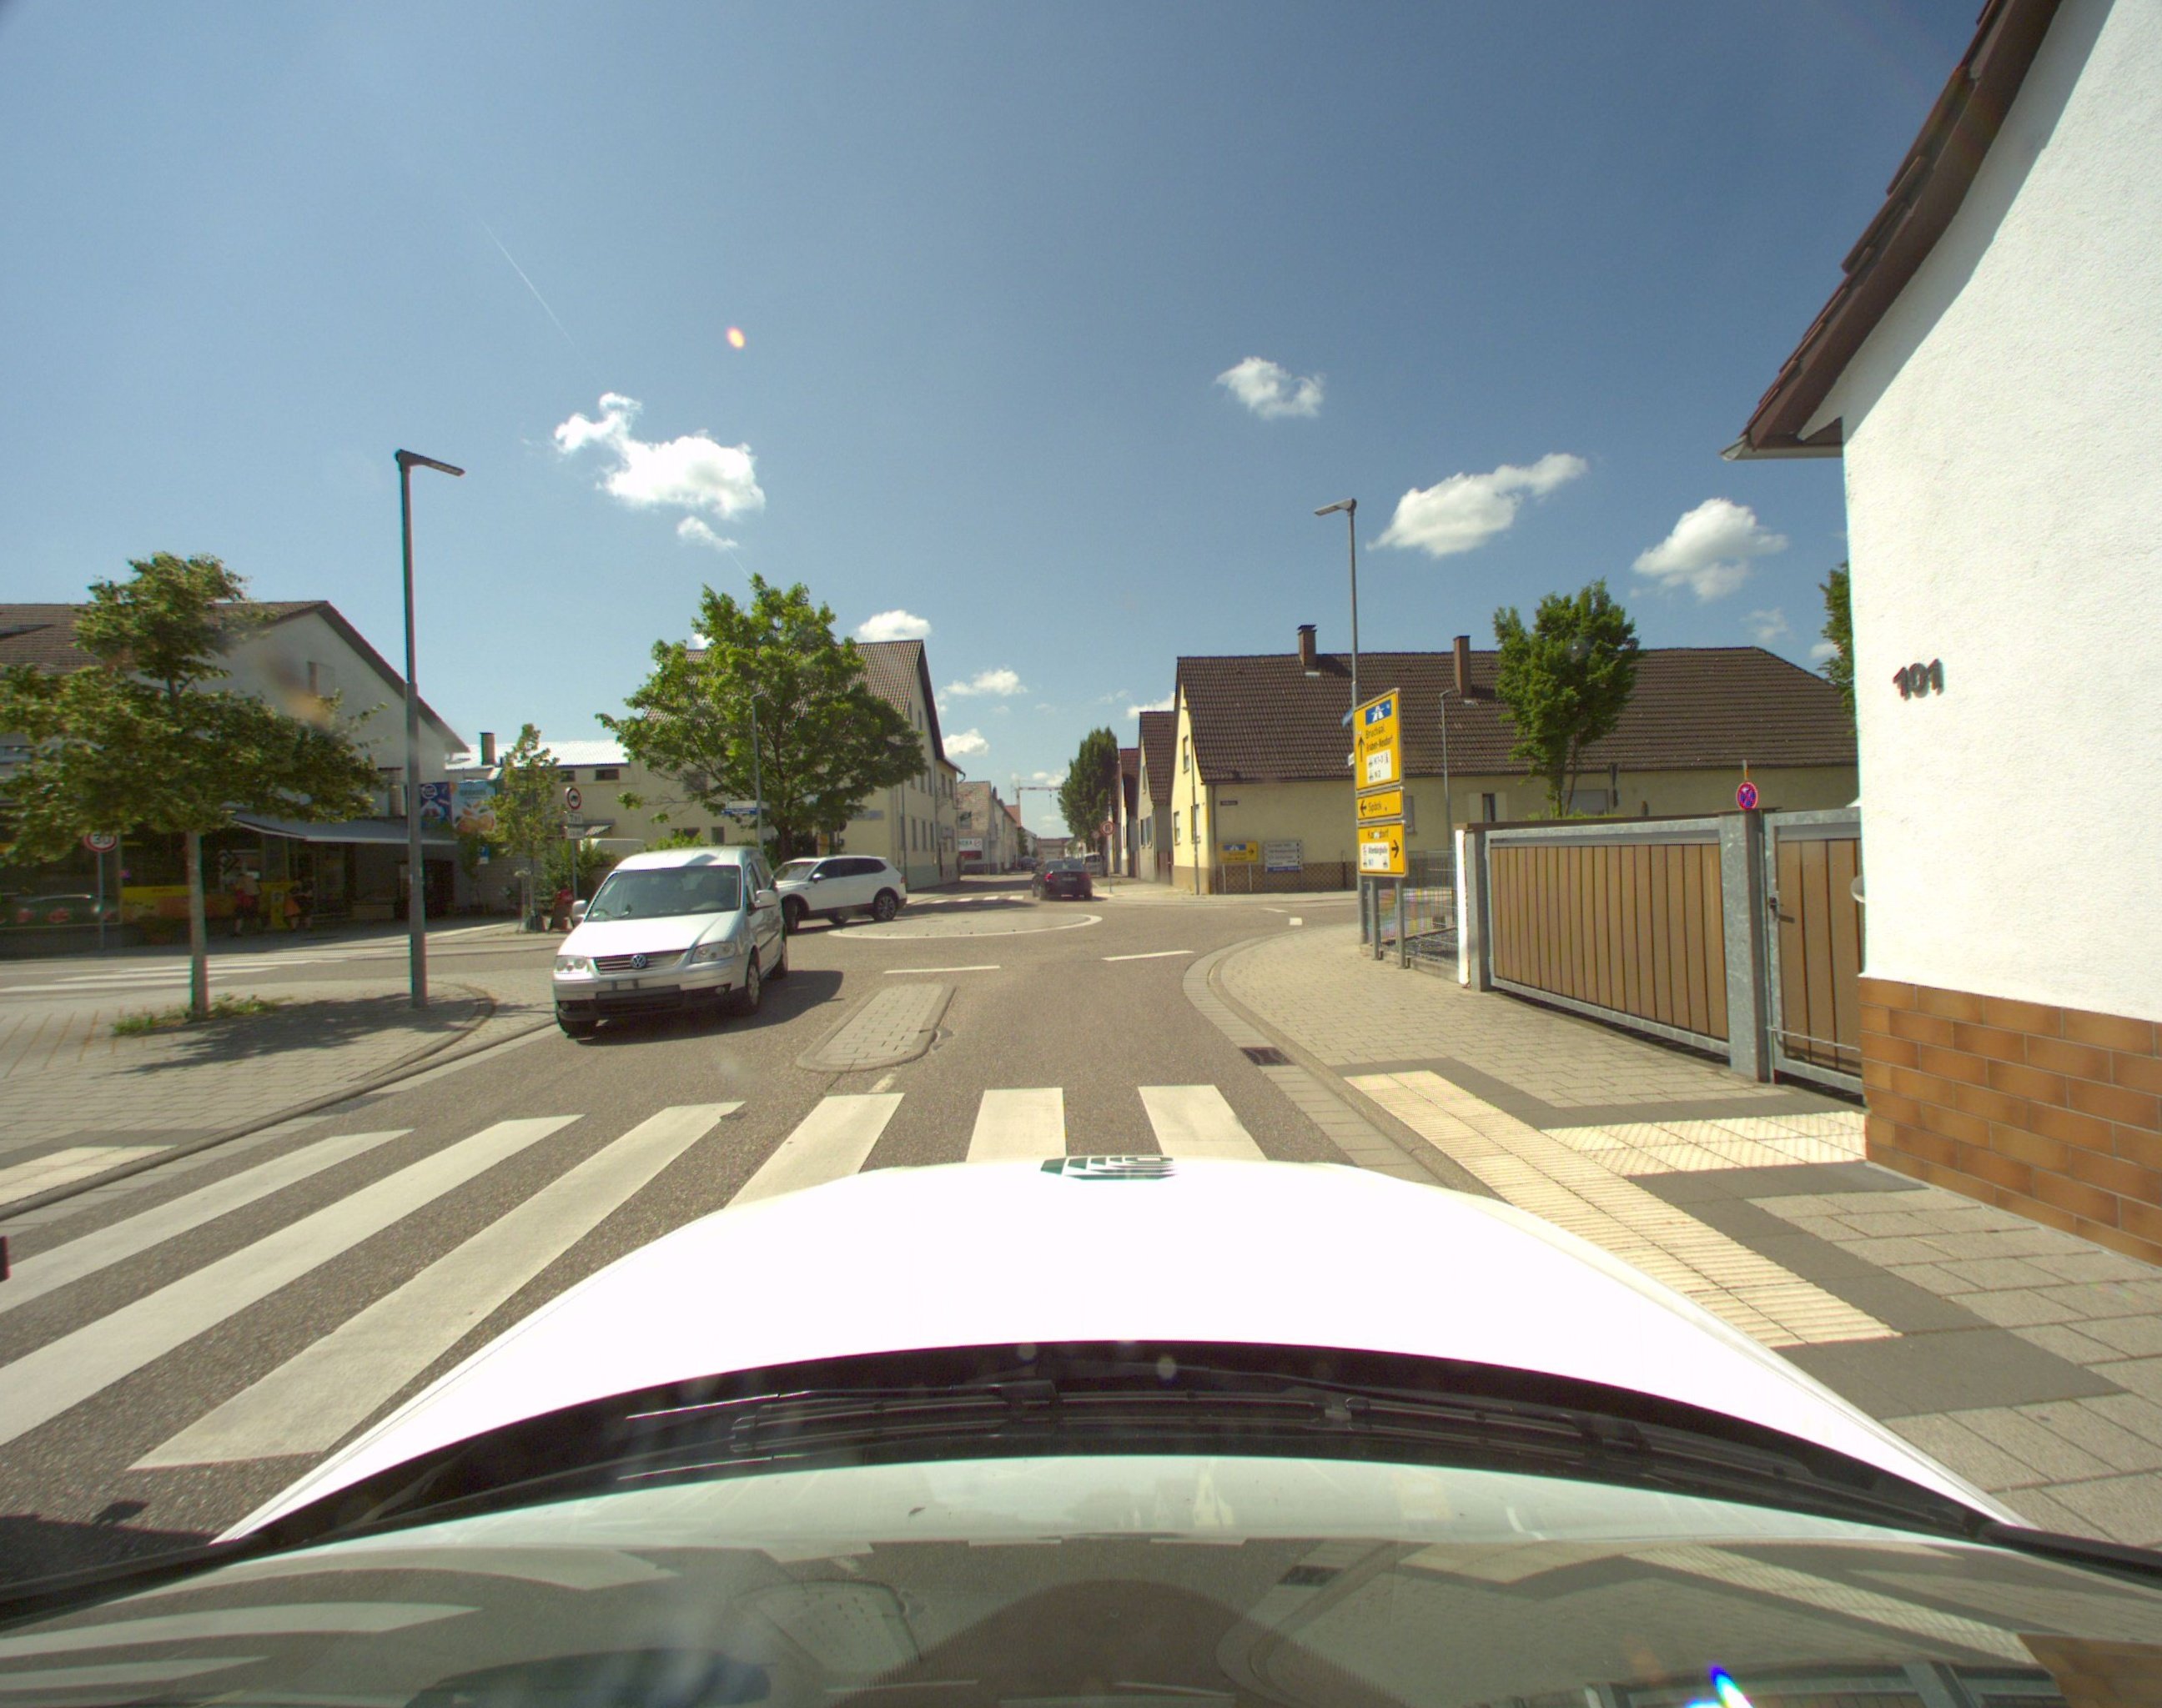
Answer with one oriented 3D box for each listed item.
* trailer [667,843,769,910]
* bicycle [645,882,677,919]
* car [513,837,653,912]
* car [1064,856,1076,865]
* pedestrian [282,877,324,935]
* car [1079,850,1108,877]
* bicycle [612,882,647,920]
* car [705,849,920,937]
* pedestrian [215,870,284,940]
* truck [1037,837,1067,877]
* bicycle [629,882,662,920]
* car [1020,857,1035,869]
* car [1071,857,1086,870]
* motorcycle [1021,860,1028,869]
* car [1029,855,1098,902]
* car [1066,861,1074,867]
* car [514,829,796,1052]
[{"bbox_3d":[-13.502,0.788,30.605,1.873,2.335,4.521,-1,0,-1],"label":"trailer"},{"bbox_3d":[-13.195,1.447,25.638,0.400,1.003,1.973,-2,2,-14],"label":"bicycle"},{"bbox_3d":[-18.716,0.713,31.005,1.931,2.567,5.644,-1,0,-1],"label":"car"},{"bbox_3d":[-1.635,1.006,123.917,1.715,1.355,4.154,-2,0,-2],"label":"car"},{"bbox_3d":[-22.169,1.461,23.205,0.869,1.589,0.755,-1,1,41],"label":"pedestrian"},{"bbox_3d":[0.871,0.675,58.787,1.716,1.790,4.138,-4,0,-3],"label":"car"},{"bbox_3d":[-14.071,1.451,25.401,0.400,1.003,1.973,-2,2,-14],"label":"bicycle"},{"bbox_3d":[-6.077,0.818,19.000,1.848,1.710,4.571,-2,0,32],"label":"car"},{"bbox_3d":[-22.917,1.378,22.460,0.779,1.825,1.022,-2,1,-3],"label":"pedestrian"},{"bbox_3d":[-3.161,0.365,91.299,3.135,4.250,9.298,0,-1,0],"label":"truck"},{"bbox_3d":[-13.638,1.449,25.535,0.400,1.003,1.973,-2,2,-14],"label":"bicycle"},{"bbox_3d":[-7.179,1.203,109.816,1.805,1.589,3.996,-2,0,-2],"label":"car"},{"bbox_3d":[-0.297,1.112,95.629,1.714,1.461,4.156,-2,0,0],"label":"car"},{"bbox_3d":[-7.293,1.375,105.805,0.844,1.170,2.466,0,-1,-3],"label":"motorcycle"},{"bbox_3d":[-0.734,0.847,30.055,1.902,1.563,4.462,-2,0,-9],"label":"car"},{"bbox_3d":[-2.309,2.124,173.039,1.715,1.269,4.154,-2,0,-2],"label":"car"},{"bbox_3d":[-4.481,0.766,9.359,1.774,1.821,4.420,-4,0,-14],"label":"car"}]
